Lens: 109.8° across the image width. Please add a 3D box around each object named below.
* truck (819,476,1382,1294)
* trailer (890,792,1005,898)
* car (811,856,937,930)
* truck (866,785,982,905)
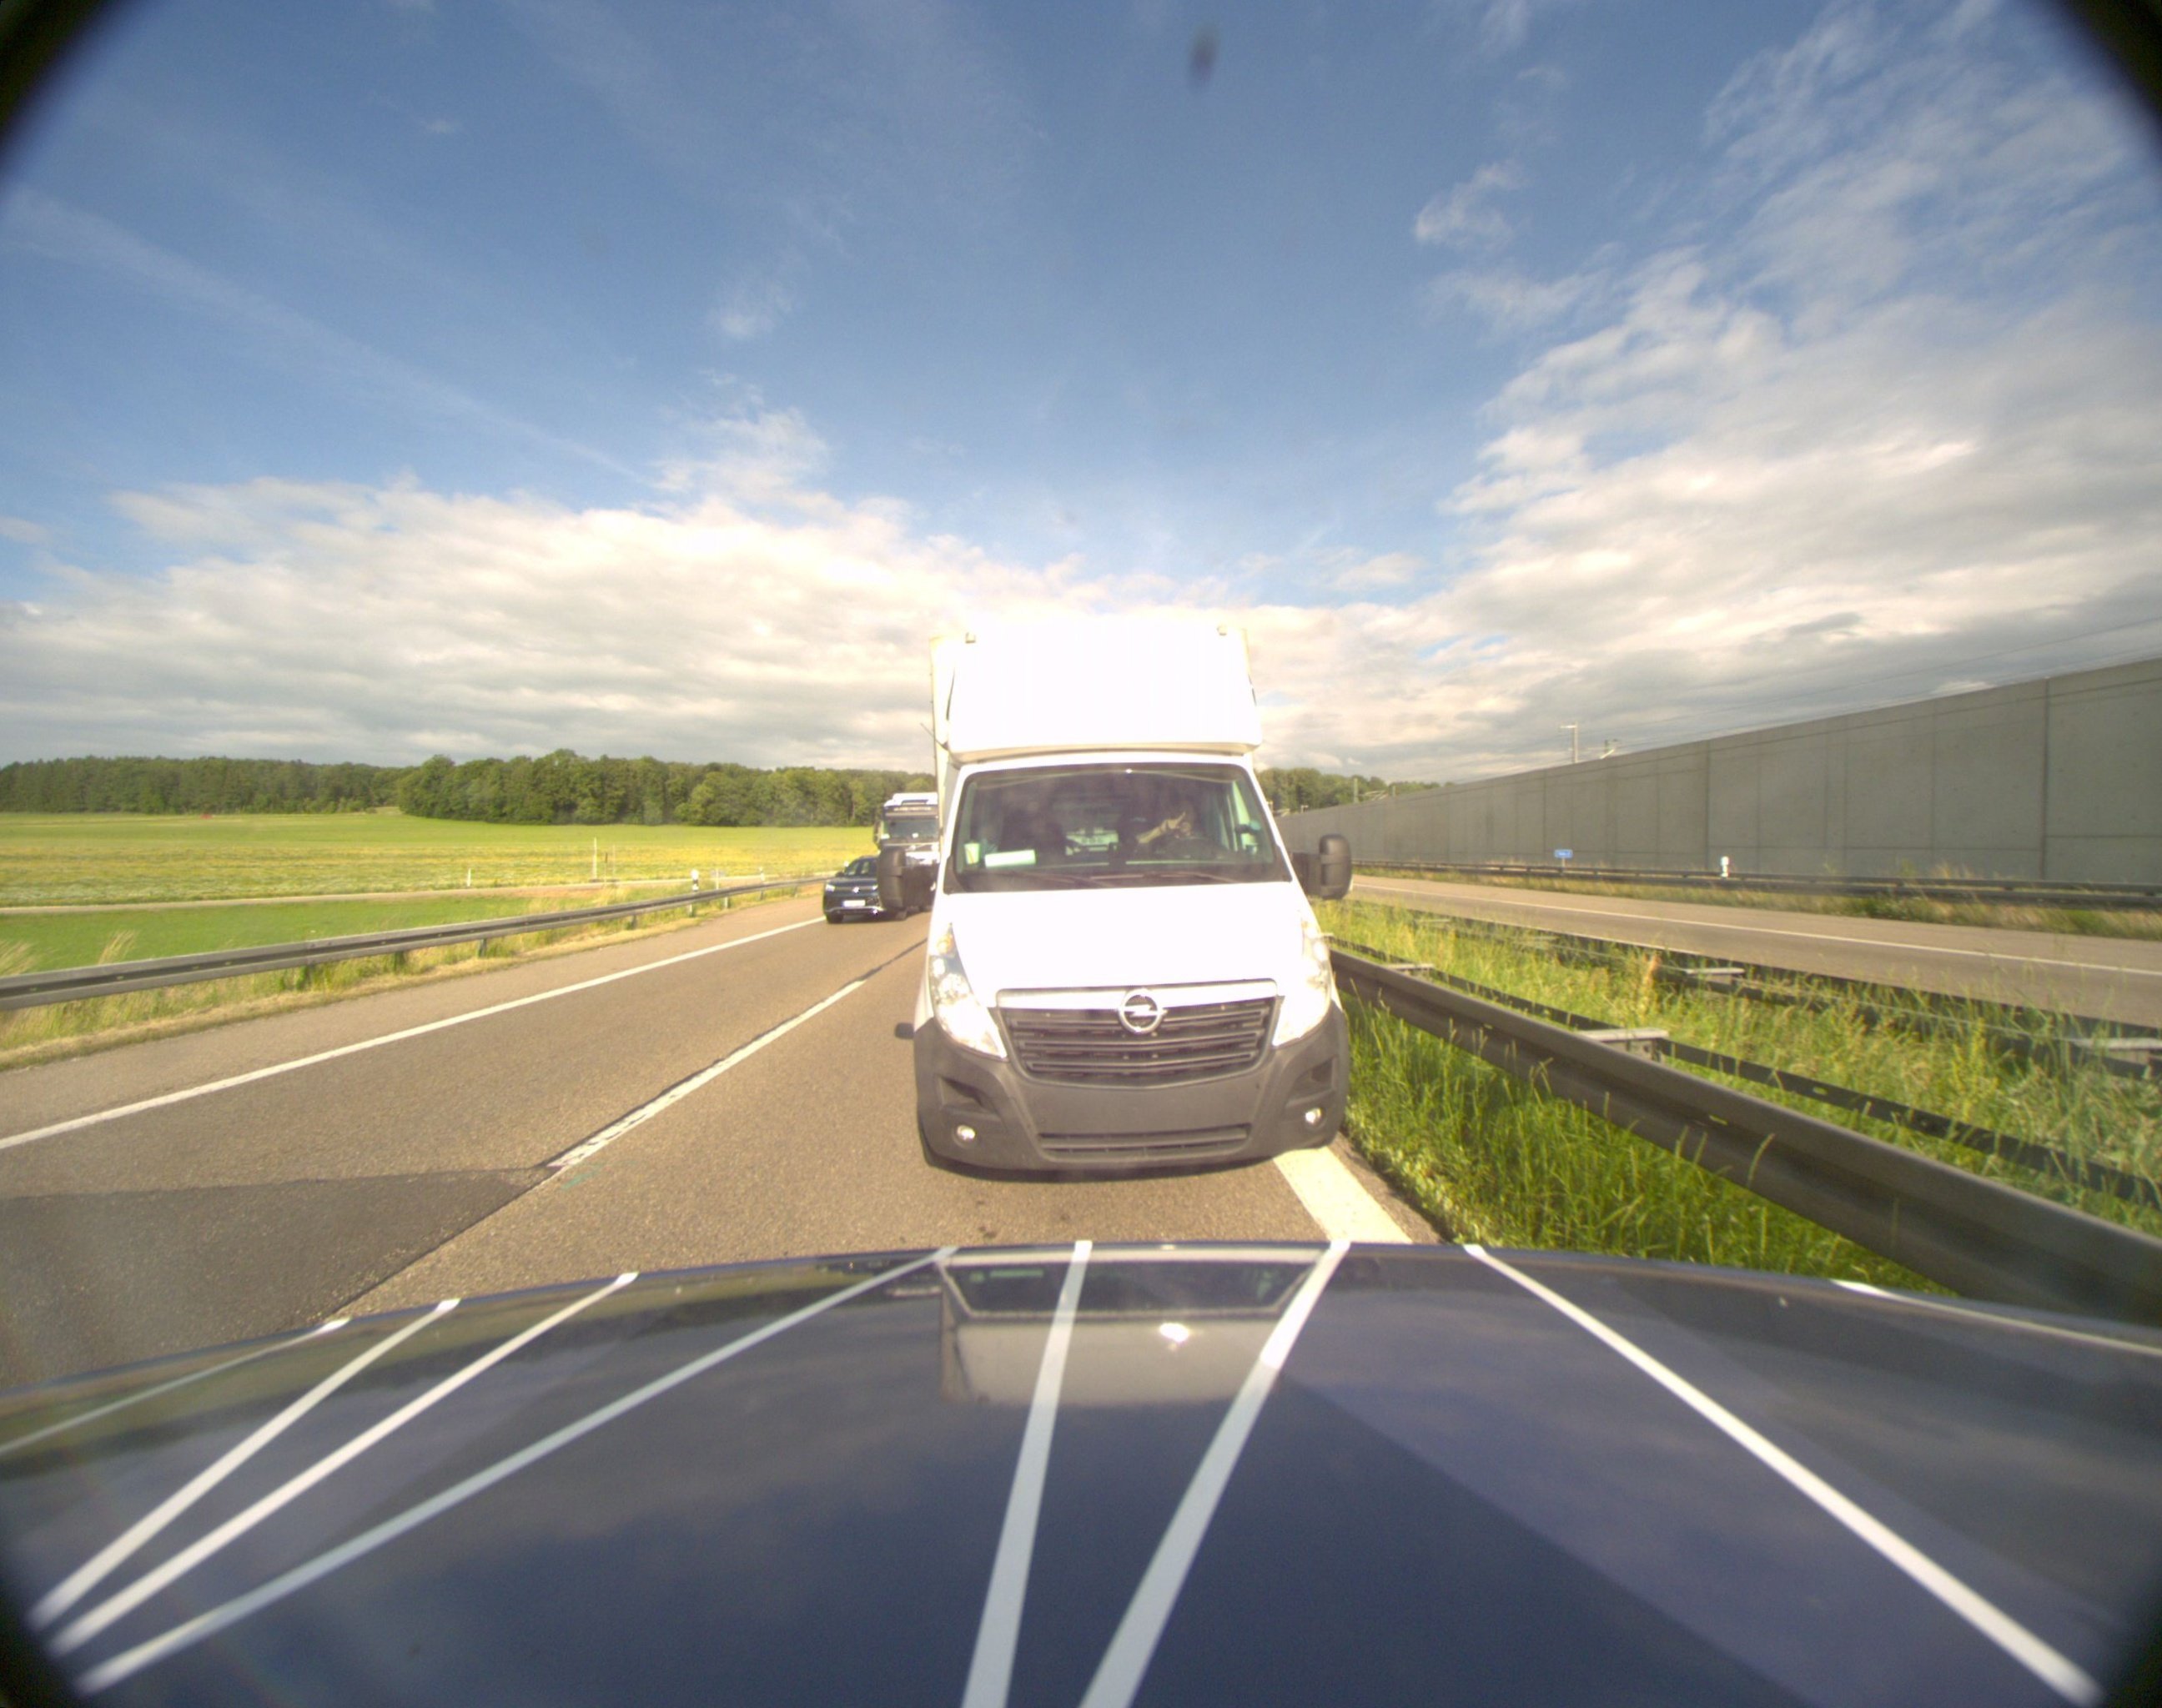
[{"bbox_3d":[0.137,0.091,6.831,2.060,3.088,7.802,-2,1,1],"label":"truck"},{"bbox_3d":[-5.708,-0.415,35.024,2.826,3.959,12.127,-2,1,1],"label":"trailer"},{"bbox_3d":[-5.151,0.901,19.555,1.998,1.587,4.118,-2,1,1],"label":"car"},{"bbox_3d":[-5.786,-0.343,29.170,2.842,3.967,6.500,-2,1,1],"label":"truck"}]
